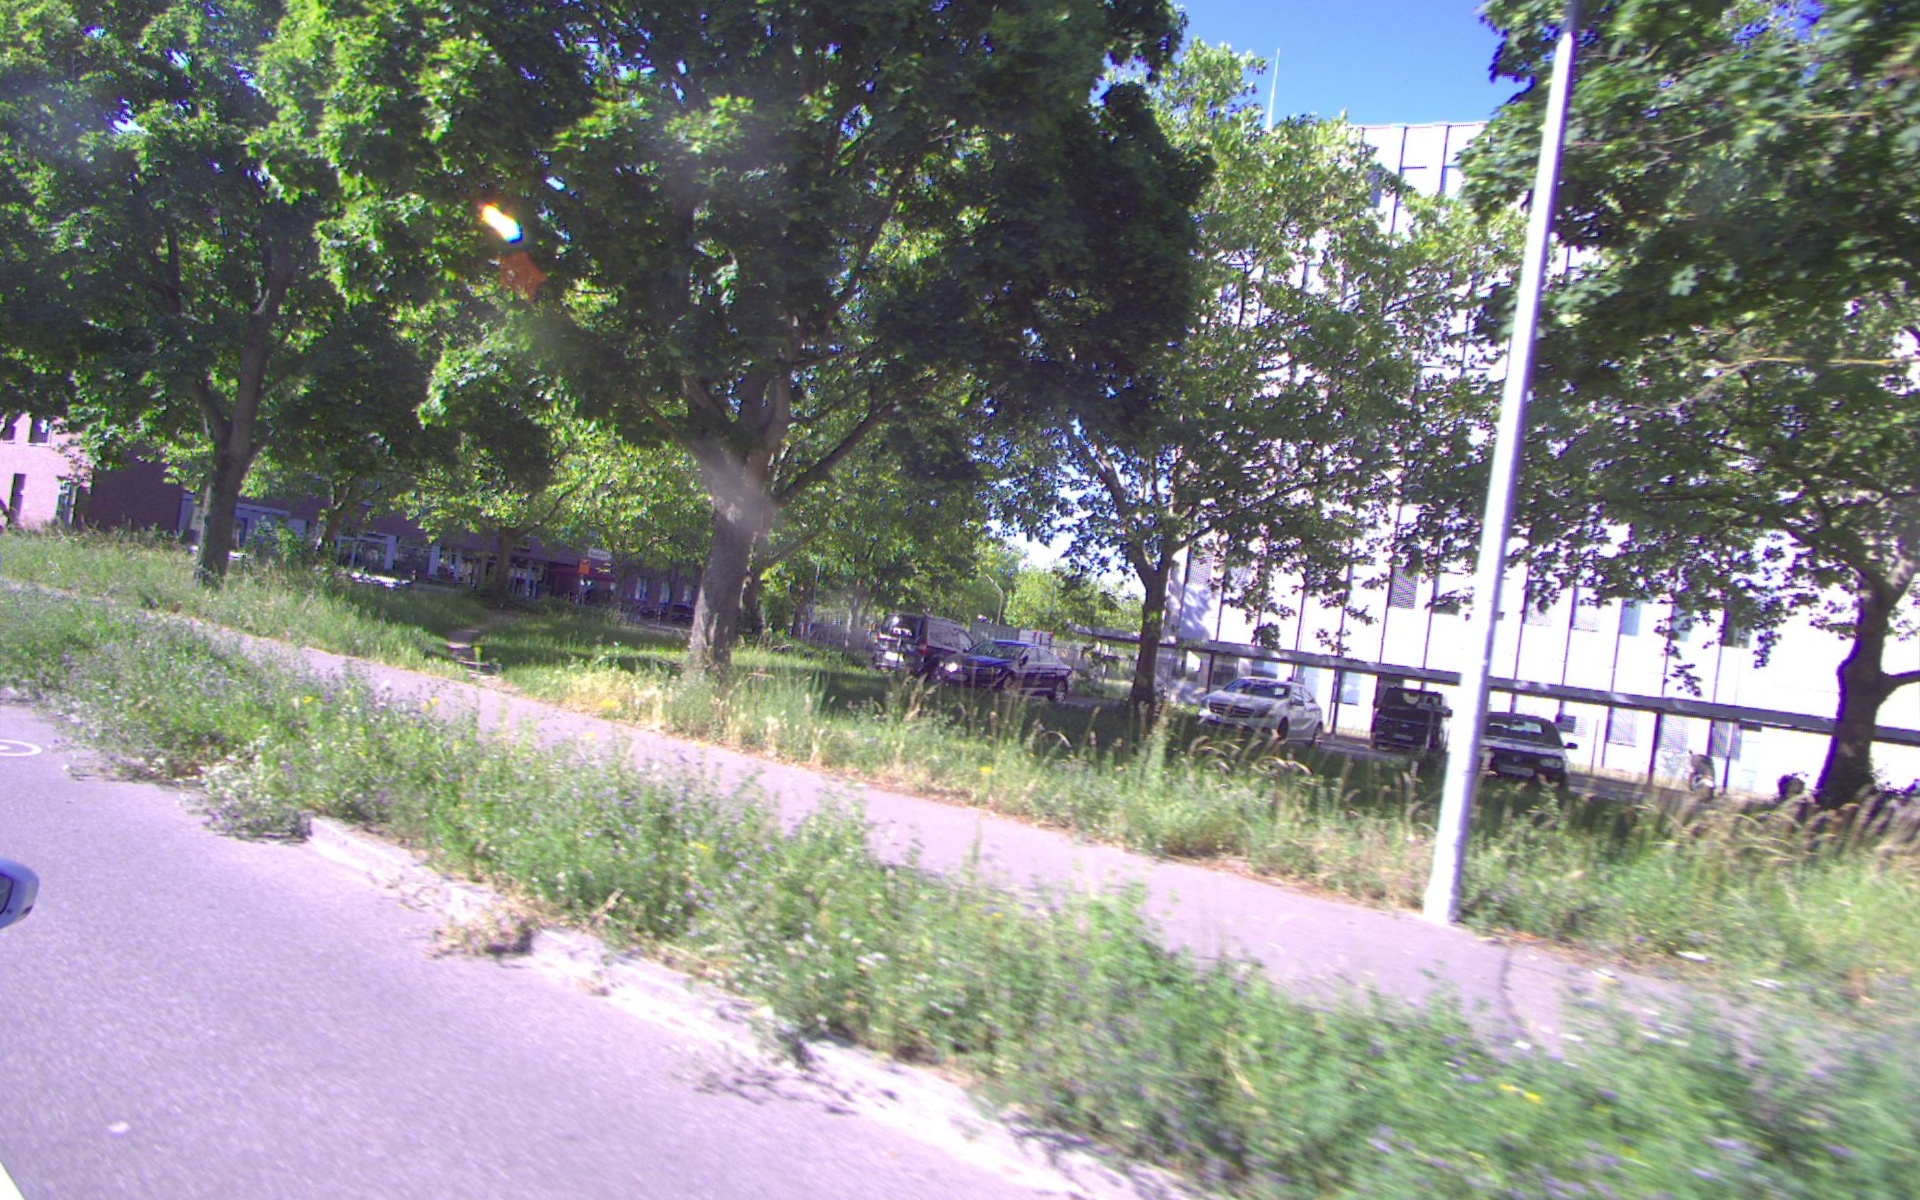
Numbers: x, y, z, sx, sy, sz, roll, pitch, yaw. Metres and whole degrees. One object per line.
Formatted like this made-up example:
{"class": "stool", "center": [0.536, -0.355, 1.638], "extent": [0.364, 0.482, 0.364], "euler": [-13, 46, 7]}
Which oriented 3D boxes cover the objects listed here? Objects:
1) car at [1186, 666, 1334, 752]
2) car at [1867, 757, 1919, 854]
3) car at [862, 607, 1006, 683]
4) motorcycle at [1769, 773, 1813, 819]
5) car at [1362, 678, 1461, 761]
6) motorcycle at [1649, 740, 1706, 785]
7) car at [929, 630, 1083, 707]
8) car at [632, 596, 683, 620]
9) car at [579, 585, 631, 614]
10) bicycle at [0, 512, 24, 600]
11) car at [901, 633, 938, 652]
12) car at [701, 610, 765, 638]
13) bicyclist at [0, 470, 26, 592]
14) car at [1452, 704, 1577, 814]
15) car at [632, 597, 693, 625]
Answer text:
{"class": "car", "center": [6.598, 2.390, 21.806], "extent": [1.795, 1.447, 4.172], "euler": [7, -3, 34]}
{"class": "car", "center": [16.367, 3.443, 16.245], "extent": [1.910, 1.340, 4.296], "euler": [8, -1, 36]}
{"class": "car", "center": [-0.588, 1.222, 26.198], "extent": [1.709, 1.522, 4.038], "euler": [7, -2, 32]}
{"class": "motorcycle", "center": [21.718, 5.106, 26.317], "extent": [0.529, 0.981, 1.653], "euler": [7, -2, 30]}
{"class": "car", "center": [13.758, 3.607, 30.481], "extent": [1.926, 2.036, 4.594], "euler": [7, -2, 32]}
{"class": "motorcycle", "center": [26.550, 6.000, 37.284], "extent": [0.998, 1.336, 3.044], "euler": [7, -2, 25]}
{"class": "car", "center": [1.235, 1.743, 24.944], "extent": [1.662, 1.475, 4.362], "euler": [7, -2, 34]}
{"class": "car", "center": [-25.607, 0.712, 85.300], "extent": [1.840, 1.508, 4.001], "euler": [7, -3, 26]}
{"class": "car", "center": [-30.474, -0.022, 86.490], "extent": [1.839, 1.849, 4.003], "euler": [7, -3, 22]}
{"class": "bicycle", "center": [-14.480, -0.706, 14.725], "extent": [2.108, 1.218, 0.484], "euler": [5, -2, 32]}
{"class": "car", "center": [-4.153, 4.388, 103.147], "extent": [1.800, 1.478, 4.232], "euler": [7, -3, 28]}
{"class": "car", "center": [-16.139, 1.729, 71.808], "extent": [1.800, 1.414, 4.526], "euler": [7, -3, 28]}
{"class": "bicyclist", "center": [-14.370, -1.051, 14.702], "extent": [0.887, 1.740, 0.684], "euler": [6, -1, 31]}
{"class": "car", "center": [10.177, 2.829, 18.612], "extent": [1.677, 1.542, 4.006], "euler": [7, -2, 28]}
{"class": "car", "center": [-22.166, 0.839, 75.075], "extent": [1.844, 1.508, 3.991], "euler": [6, -3, 36]}
